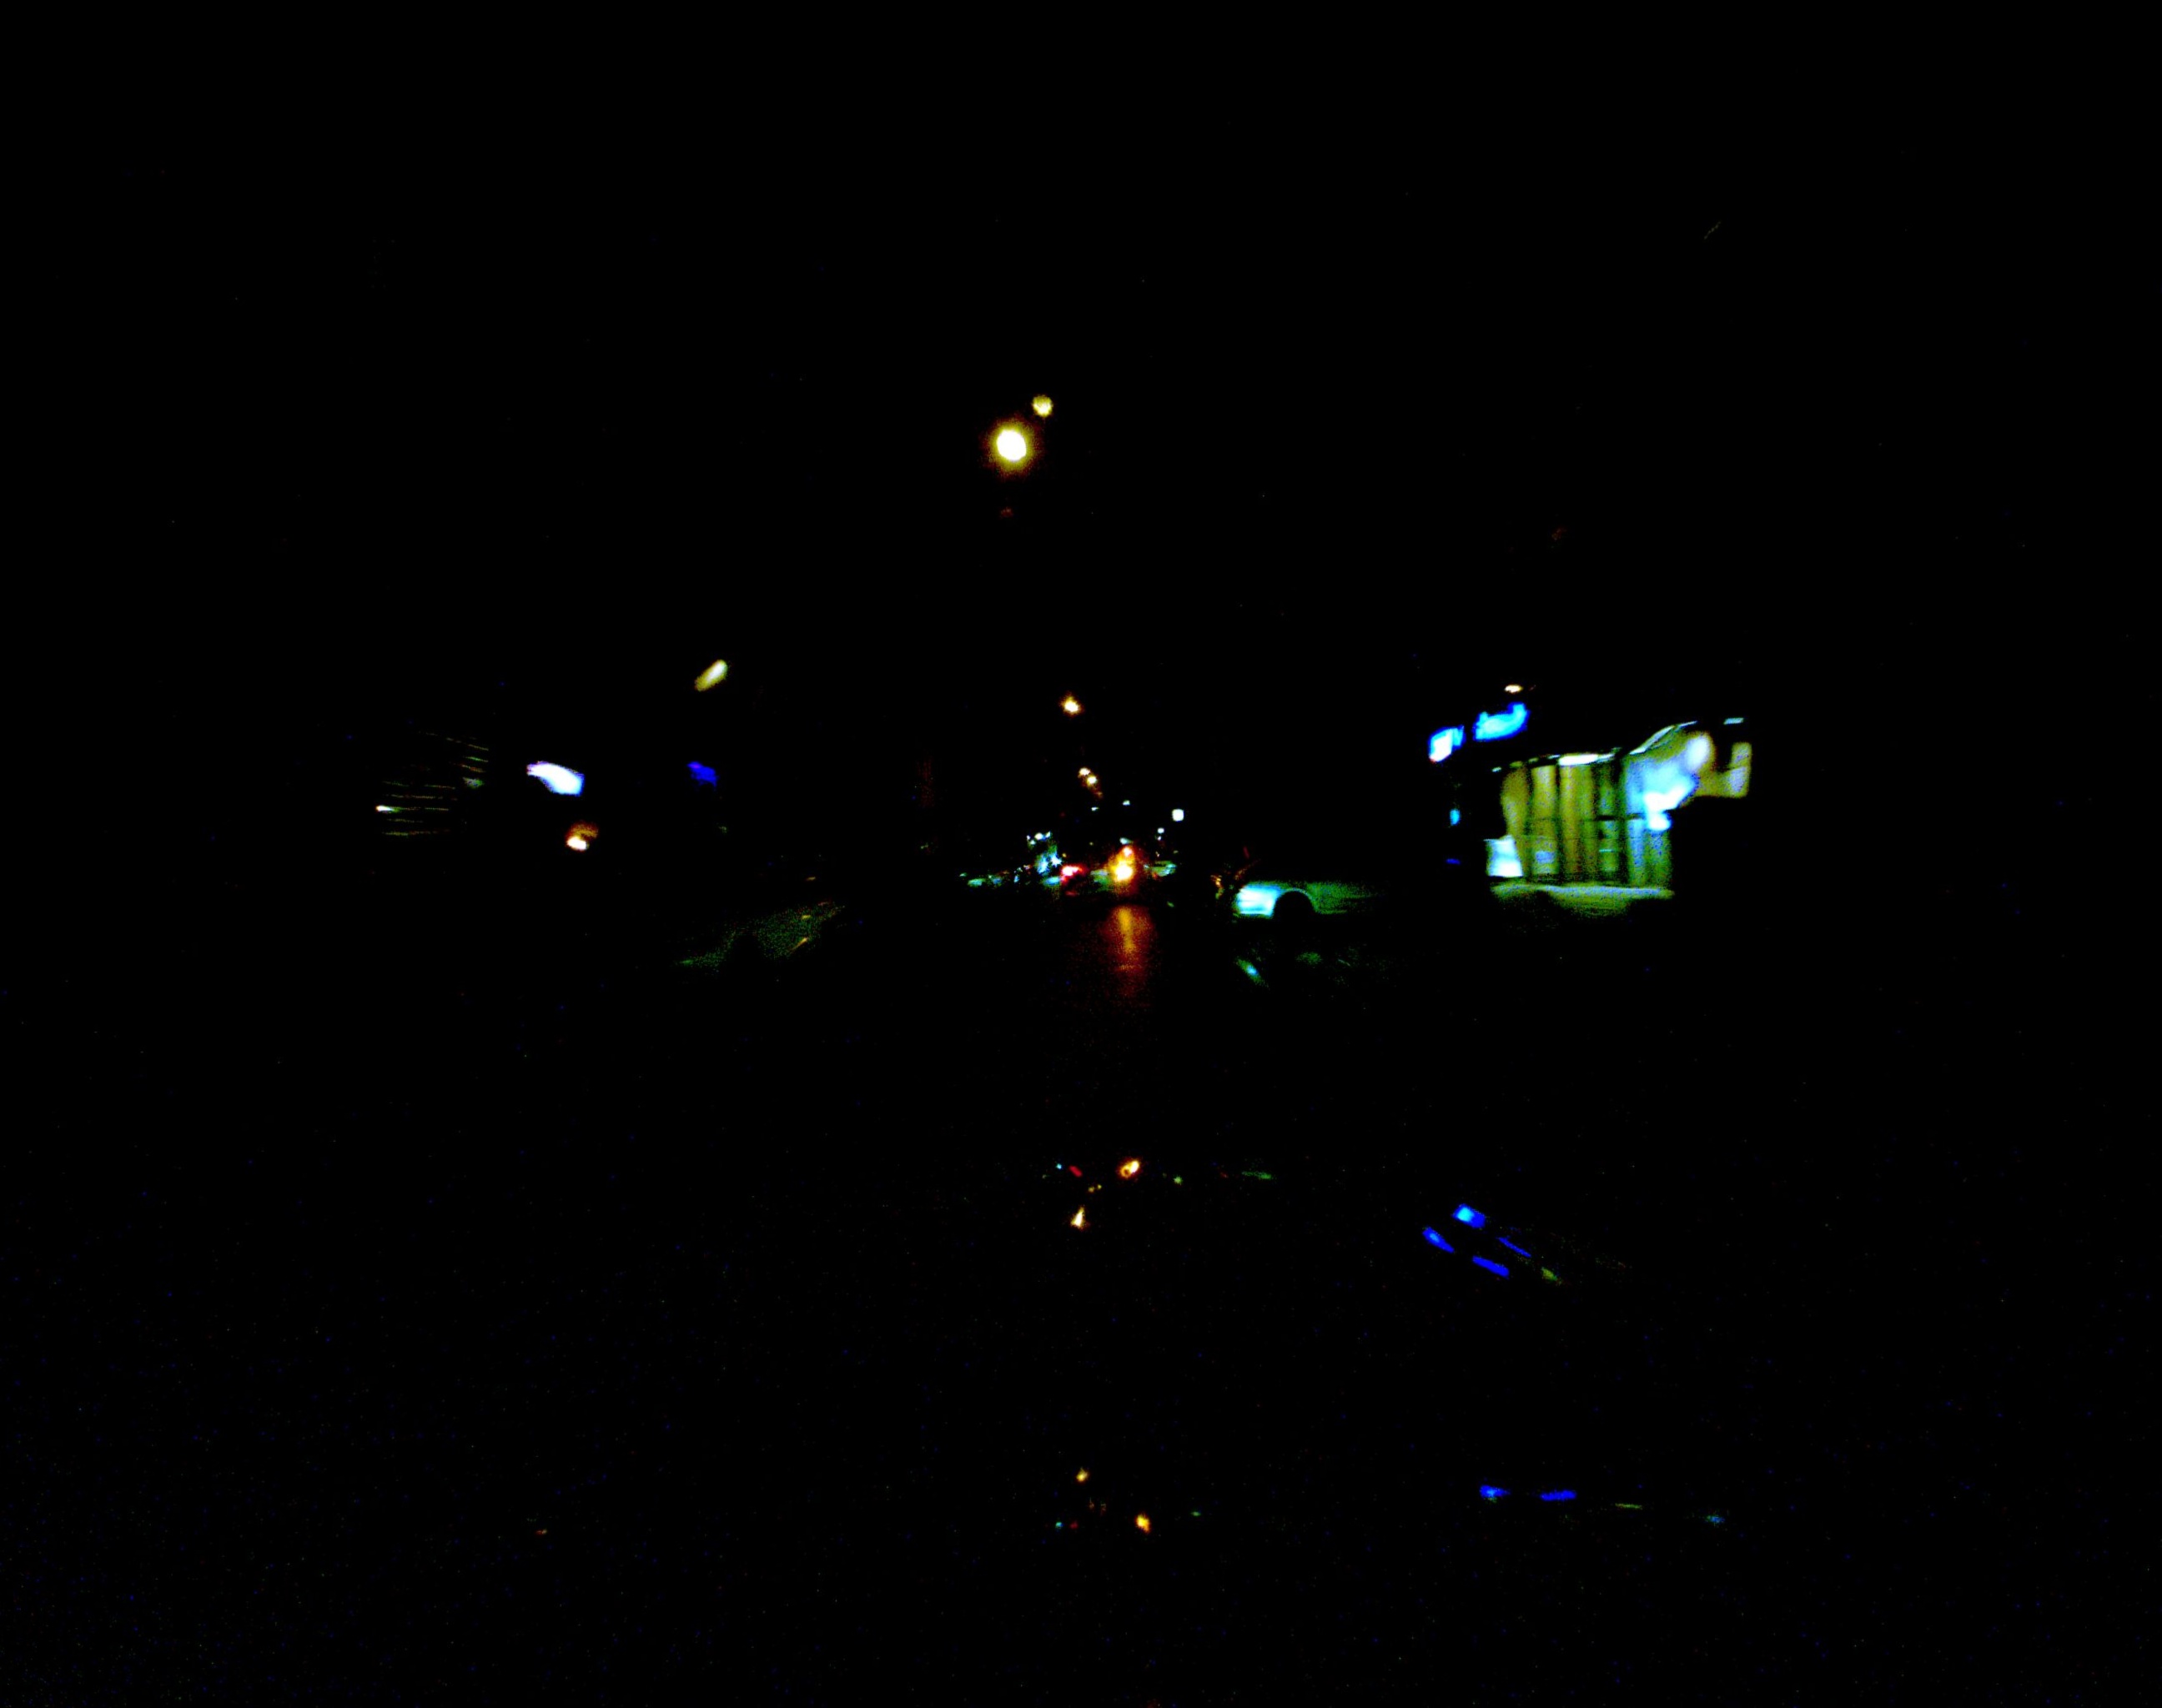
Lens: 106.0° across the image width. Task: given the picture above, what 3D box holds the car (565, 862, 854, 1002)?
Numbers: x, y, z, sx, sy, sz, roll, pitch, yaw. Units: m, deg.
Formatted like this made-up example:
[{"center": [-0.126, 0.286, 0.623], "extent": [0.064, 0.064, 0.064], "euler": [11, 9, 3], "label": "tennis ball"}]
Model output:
[{"center": [-4.892, 0.908, 11.646], "extent": [1.760, 1.483, 4.775], "euler": [1, 1, 2], "label": "car"}]

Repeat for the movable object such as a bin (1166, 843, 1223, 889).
[{"center": [3.737, 0.380, 26.813], "extent": [1.347, 1.429, 1.188], "euler": [-3, 0, -35], "label": "movable object such as a bin"}]

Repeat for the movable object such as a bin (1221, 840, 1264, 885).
[{"center": [5.358, 0.278, 27.040], "extent": [1.300, 1.429, 1.053], "euler": [-3, 0, 11], "label": "movable object such as a bin"}]

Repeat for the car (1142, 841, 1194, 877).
[{"center": [3.886, 0.195, 37.127], "extent": [1.986, 1.464, 4.418], "euler": [-3, 0, 1], "label": "car"}]

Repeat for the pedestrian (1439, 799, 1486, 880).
[{"center": [8.734, -0.334, 18.643], "extent": [0.699, 1.788, 0.625], "euler": [-4, 1, 5], "label": "pedestrian"}]

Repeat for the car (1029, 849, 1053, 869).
[{"center": [-3.725, 0.463, 77.081], "extent": [1.826, 1.717, 4.596], "euler": [-2, 0, 2], "label": "car"}]

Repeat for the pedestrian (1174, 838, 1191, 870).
[{"center": [5.987, -0.021, 48.076], "extent": [0.858, 1.788, 1.084], "euler": [-4, 1, 5], "label": "pedestrian"}]

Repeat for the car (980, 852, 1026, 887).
[{"center": [-3.928, 0.752, 41.471], "extent": [1.768, 1.572, 4.136], "euler": [-3, 0, 1], "label": "car"}]

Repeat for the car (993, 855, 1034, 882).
[{"center": [-3.818, 0.778, 46.939], "extent": [1.815, 1.389, 4.427], "euler": [-3, 0, 2], "label": "car"}]

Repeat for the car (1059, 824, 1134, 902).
[{"center": [0.512, 0.229, 24.796], "extent": [1.988, 2.049, 4.697], "euler": [-2, 0, 2], "label": "car"}]

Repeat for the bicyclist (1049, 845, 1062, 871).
[{"center": [-1.623, 0.254, 52.059], "extent": [0.716, 1.556, 0.895], "euler": [-3, 0, 1], "label": "bicyclist"}]

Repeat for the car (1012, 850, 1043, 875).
[{"center": [-3.709, 0.559, 57.193], "extent": [1.739, 1.588, 3.767], "euler": [-2, 0, 2], "label": "car"}]

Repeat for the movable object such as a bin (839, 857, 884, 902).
[{"center": [-7.502, 0.861, 27.932], "extent": [1.098, 1.454, 1.378], "euler": [-3, 0, -1], "label": "movable object such as a bin"}]

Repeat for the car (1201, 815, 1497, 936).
[{"center": [4.530, 0.355, 14.262], "extent": [4.497, 1.530, 1.780], "euler": [-6, 0, 0], "label": "car"}]

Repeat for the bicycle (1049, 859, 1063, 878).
[{"center": [-1.575, 0.920, 52.123], "extent": [0.725, 1.072, 2.349], "euler": [-3, 0, 2], "label": "bicycle"}]

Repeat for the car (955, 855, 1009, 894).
[{"center": [-4.132, 0.820, 34.476], "extent": [1.666, 1.491, 3.723], "euler": [-1, 0, 1], "label": "car"}]
